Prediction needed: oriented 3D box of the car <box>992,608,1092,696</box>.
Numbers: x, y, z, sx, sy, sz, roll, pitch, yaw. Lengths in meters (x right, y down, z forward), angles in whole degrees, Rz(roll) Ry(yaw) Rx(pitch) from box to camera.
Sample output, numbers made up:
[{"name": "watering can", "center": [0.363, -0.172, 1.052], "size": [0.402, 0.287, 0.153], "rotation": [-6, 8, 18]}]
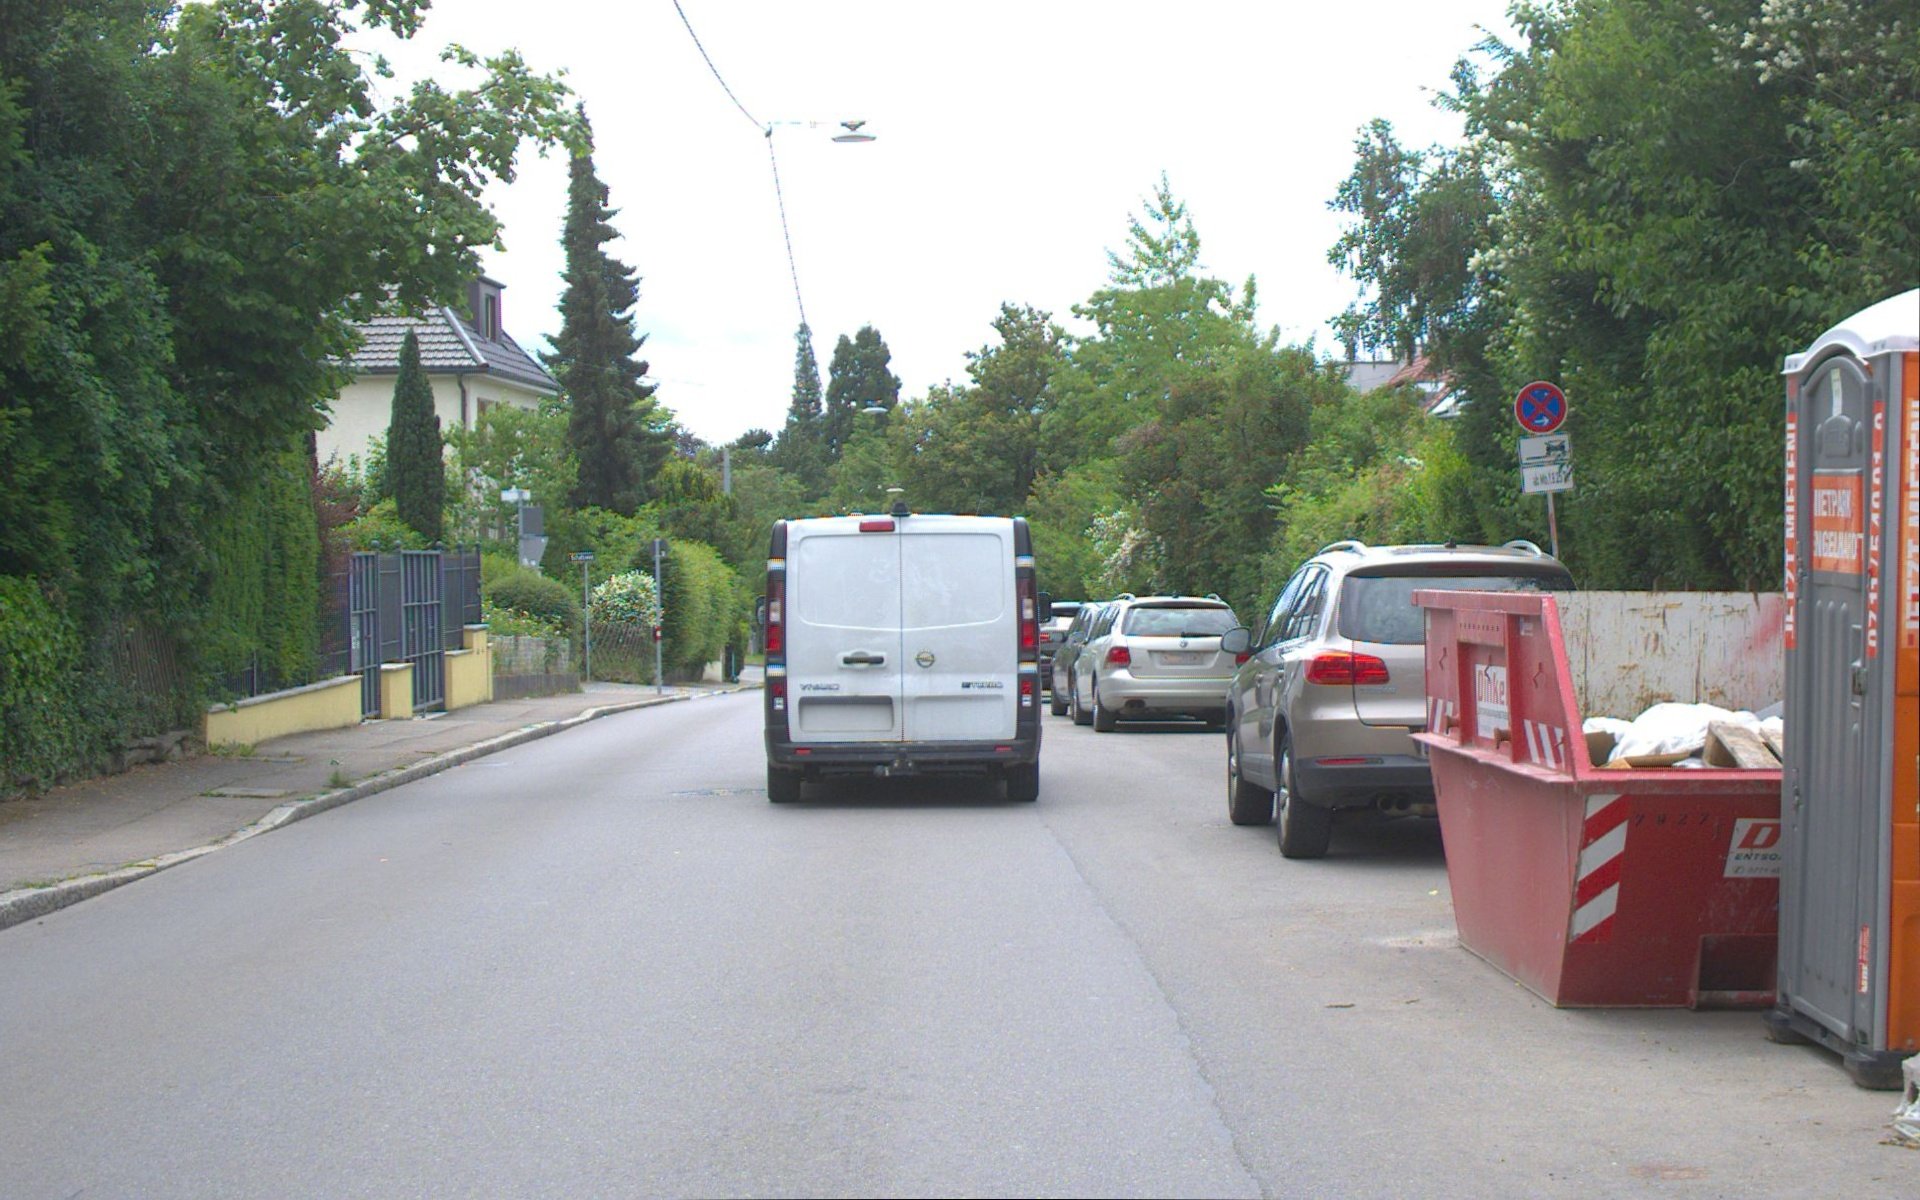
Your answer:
[{"name": "car", "center": [1.598, 1.009, 68.482], "size": [1.744, 1.624, 4.259], "rotation": [-1, 0, -2]}]

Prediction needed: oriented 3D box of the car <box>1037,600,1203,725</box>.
[{"name": "car", "center": [1.965, 0.749, 43.333], "size": [1.744, 1.442, 4.259], "rotation": [-1, 0, -2]}]

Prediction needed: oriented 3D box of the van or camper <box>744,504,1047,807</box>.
[{"name": "van or camper", "center": [-0.478, 0.371, 24.641], "size": [1.939, 1.947, 4.765], "rotation": [1, 0, -1]}]

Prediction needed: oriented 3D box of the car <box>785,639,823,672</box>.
[{"name": "car", "center": [-7.717, 2.725, 170.308], "size": [1.744, 1.520, 4.012], "rotation": [-1, 0, -2]}]

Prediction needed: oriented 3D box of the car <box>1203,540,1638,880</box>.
[{"name": "car", "center": [2.461, 0.536, 19.338], "size": [1.744, 1.669, 4.185], "rotation": [-1, 0, -2]}]

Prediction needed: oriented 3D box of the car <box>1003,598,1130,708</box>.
[{"name": "car", "center": [1.653, 0.813, 54.694], "size": [1.744, 1.624, 4.259], "rotation": [-1, 0, -2]}]

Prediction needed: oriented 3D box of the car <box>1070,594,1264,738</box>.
[{"name": "car", "center": [2.223, 0.682, 37.952], "size": [1.744, 1.442, 4.259], "rotation": [-1, 0, -2]}]
